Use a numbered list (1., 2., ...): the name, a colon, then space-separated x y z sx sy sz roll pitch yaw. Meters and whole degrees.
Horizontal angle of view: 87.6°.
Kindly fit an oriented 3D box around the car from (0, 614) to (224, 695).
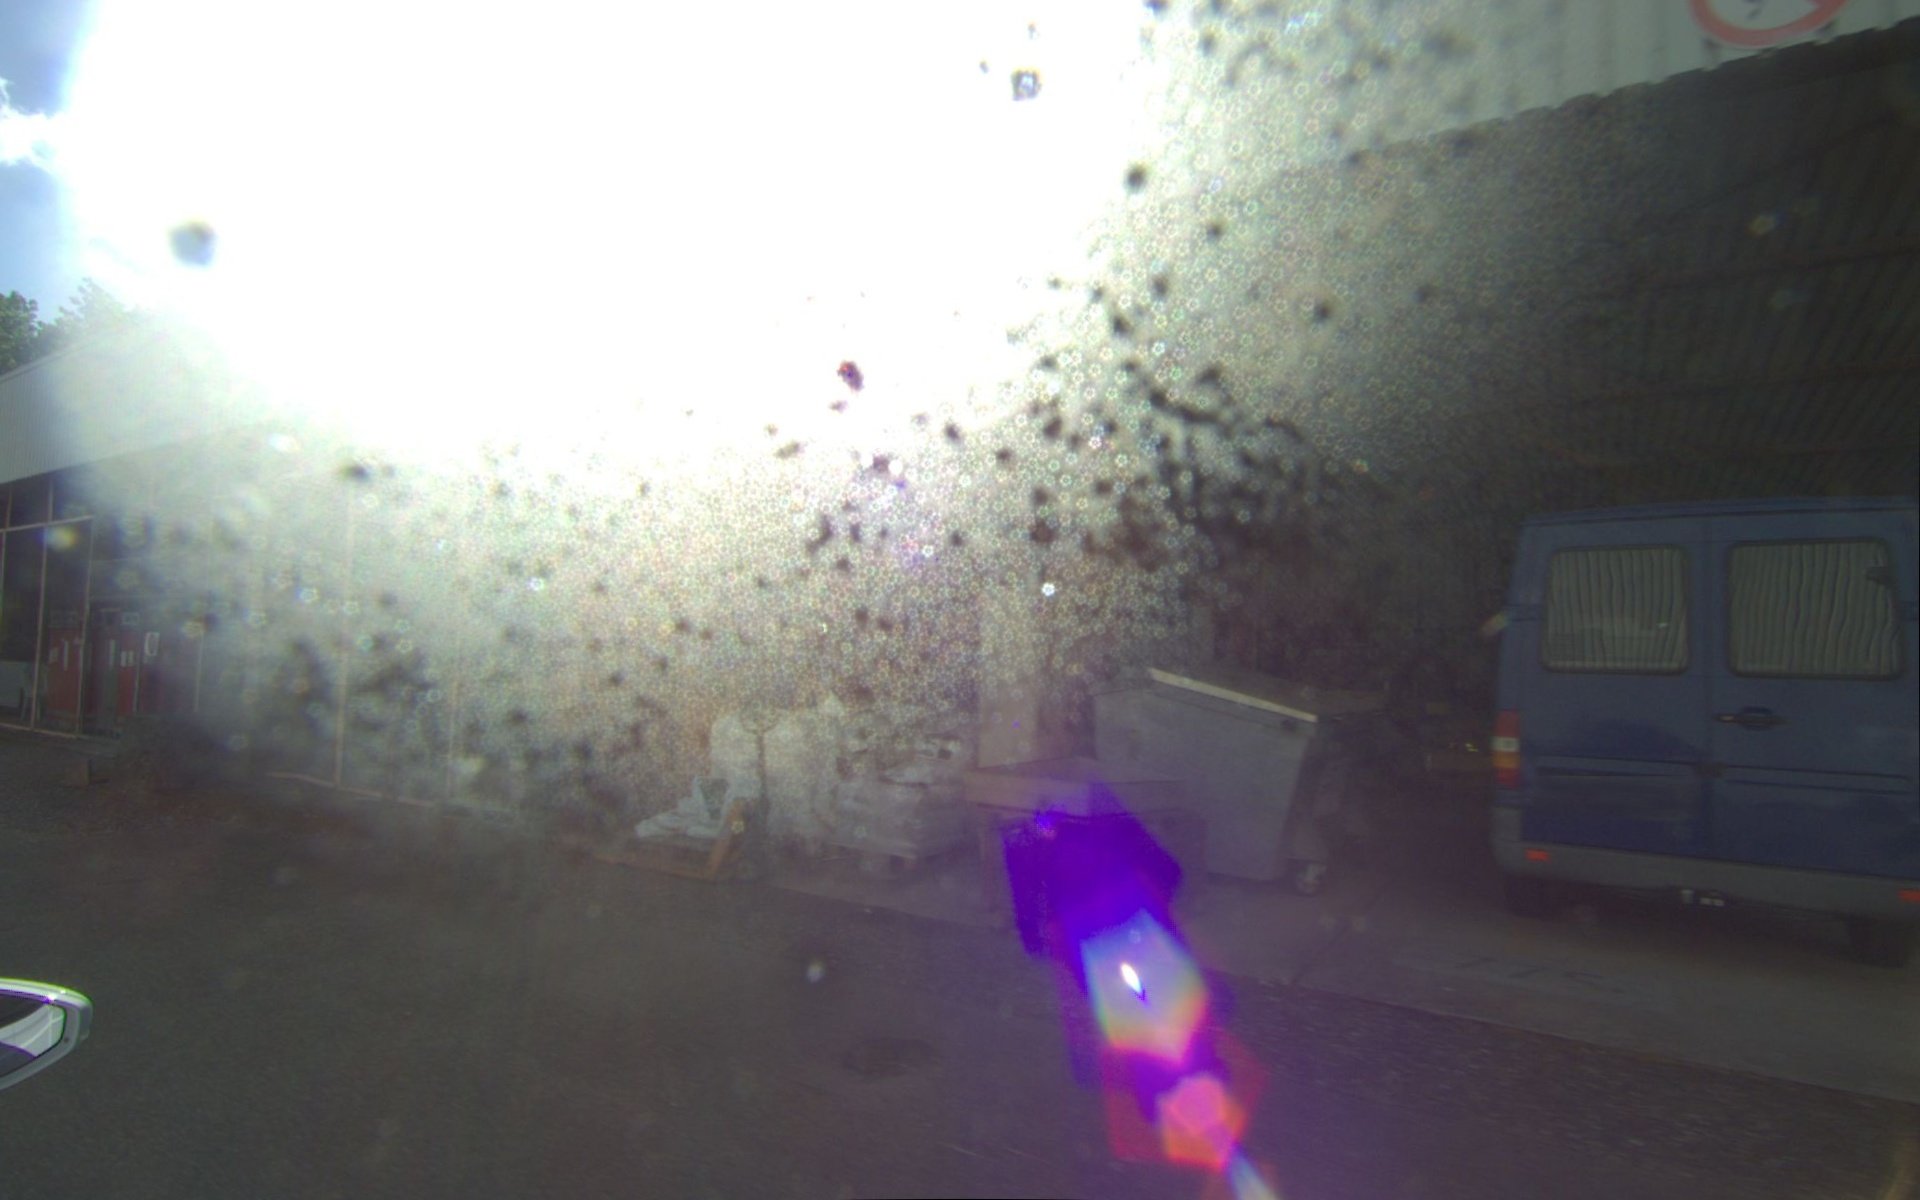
1. car: -22.559 1.441 25.945 1.968 1.899 5.240 0 -4 27

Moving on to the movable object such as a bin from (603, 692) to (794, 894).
1. movable object such as a bin: -1.772 1.236 6.749 1.222 1.178 0.580 -1 -3 37

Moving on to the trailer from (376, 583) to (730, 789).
1. trailer: -4.924 0.948 12.023 4.039 2.084 1.854 0 -4 32

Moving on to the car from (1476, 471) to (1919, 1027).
1. car: 4.836 0.817 6.734 1.972 2.353 4.974 0 -4 33
